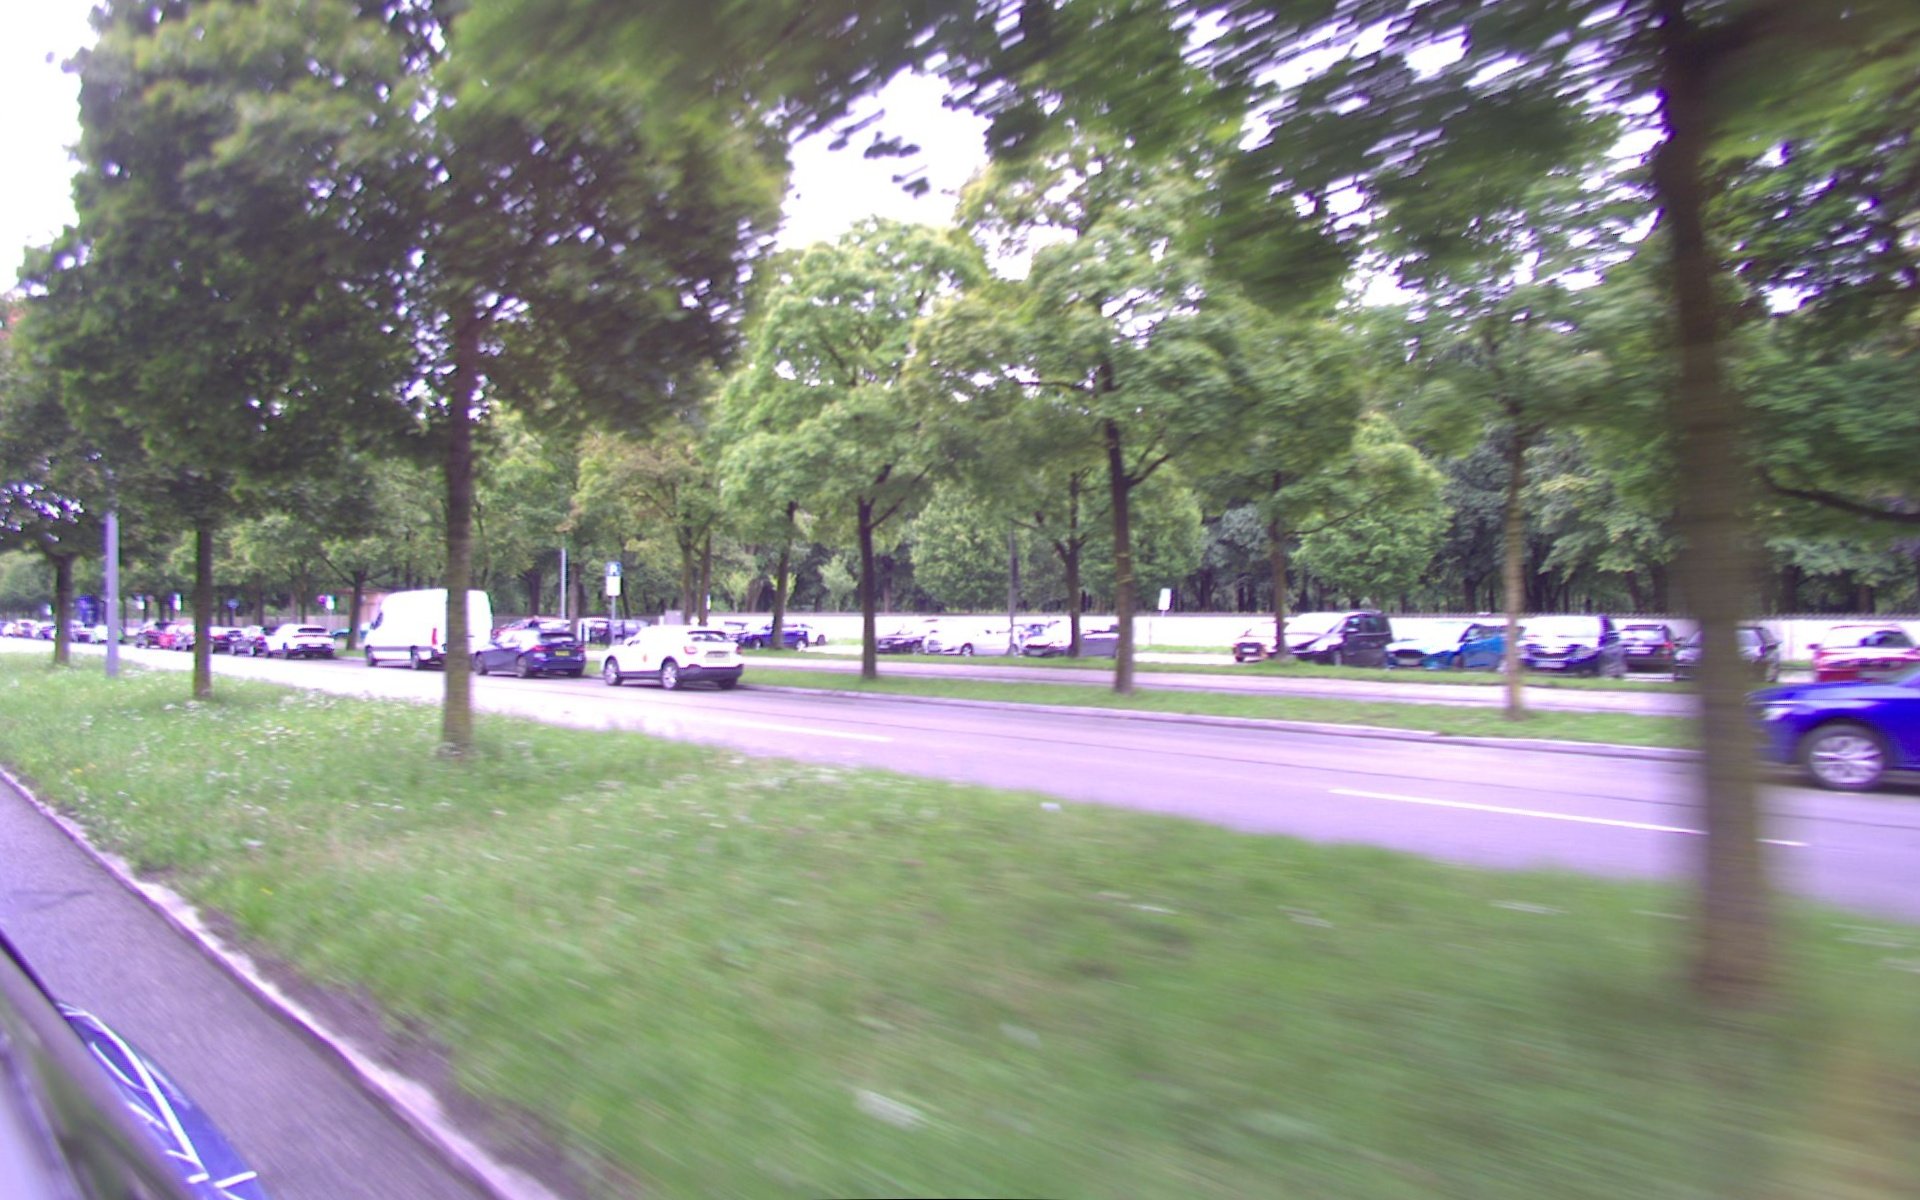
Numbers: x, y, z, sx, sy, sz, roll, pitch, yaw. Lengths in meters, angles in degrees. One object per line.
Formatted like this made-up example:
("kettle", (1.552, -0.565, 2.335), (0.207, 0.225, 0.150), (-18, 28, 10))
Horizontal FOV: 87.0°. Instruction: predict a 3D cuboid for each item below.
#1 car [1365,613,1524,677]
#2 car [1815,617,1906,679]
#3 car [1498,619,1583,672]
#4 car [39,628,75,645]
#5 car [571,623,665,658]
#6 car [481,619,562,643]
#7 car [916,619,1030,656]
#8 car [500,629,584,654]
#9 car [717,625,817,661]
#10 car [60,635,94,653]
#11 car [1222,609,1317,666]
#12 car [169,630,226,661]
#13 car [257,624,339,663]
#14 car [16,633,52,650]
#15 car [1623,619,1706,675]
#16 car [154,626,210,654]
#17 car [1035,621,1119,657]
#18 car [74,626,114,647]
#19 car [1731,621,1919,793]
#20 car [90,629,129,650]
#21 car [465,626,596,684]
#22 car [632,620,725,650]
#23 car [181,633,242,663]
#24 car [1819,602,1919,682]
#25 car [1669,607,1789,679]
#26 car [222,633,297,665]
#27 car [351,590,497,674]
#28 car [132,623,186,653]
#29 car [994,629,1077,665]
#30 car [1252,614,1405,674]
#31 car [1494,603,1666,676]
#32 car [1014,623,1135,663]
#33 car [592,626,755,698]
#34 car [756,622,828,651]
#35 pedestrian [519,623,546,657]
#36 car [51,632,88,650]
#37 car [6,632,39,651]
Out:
("car", (12.369, 1.102, 25.783), (3.934, 1.516, 2.005), (1, -2, -36))
("car", (25.933, 1.323, 29.253), (1.814, 1.548, 3.946), (-1, 0, 40))
("car", (19.699, 1.485, 34.273), (1.814, 1.548, 3.946), (-1, 0, 40))
("car", (-81.133, 3.303, 90.910), (3.784, 1.457, 1.803), (-1, -4, 39))
("car", (-16.517, 1.925, 48.939), (1.814, 1.582, 3.943), (-1, -2, 43))
("car", (-24.911, 1.760, 57.586), (1.737, 1.293, 3.952), (-1, -2, 35))
("car", (0.504, 1.299, 35.517), (1.784, 1.219, 3.942), (-2, -2, 44))
("car", (-22.791, 2.249, 55.280), (1.737, 1.293, 3.953), (-1, -2, 34))
("car", (-8.355, 1.841, 43.945), (3.940, 1.449, 1.816), (1, -2, -44))
("car", (-72.832, 3.599, 83.503), (3.686, 1.433, 1.632), (-2, -4, 42))
("car", (12.445, 1.443, 40.486), (1.999, 2.050, 4.459), (-1, 0, 40))
("car", (-41.865, 2.449, 55.530), (4.112, 1.611, 1.802), (-1, -2, 43))
("car", (-28.985, 1.891, 44.280), (4.296, 1.539, 1.803), (0, -2, 40))
("car", (-89.937, 4.006, 98.296), (4.037, 1.628, 1.982), (-1, -3, 39))
("car", (22.578, 1.447, 32.380), (1.814, 1.548, 3.946), (-1, 0, 40))
("car", (-45.525, 2.289, 59.186), (3.807, 1.490, 1.803), (0, 0, 40))
("car", (5.458, 1.773, 46.937), (3.940, 1.608, 1.771), (1, -2, -44))
("car", (-68.386, 2.868, 79.903), (4.454, 1.643, 1.802), (-1, -3, 41))
("car", (9.881, 1.003, 9.357), (4.310, 1.549, 1.867), (-1, -4, 40))
("car", (-62.326, 2.864, 74.129), (3.999, 1.511, 1.622), (-2, -3, 42))
("car", (-12.678, 1.559, 29.753), (4.249, 1.502, 1.838), (0, 0, 40))
("car", (-13.478, 1.647, 48.565), (1.815, 1.349, 3.942), (-2, -2, 44))
("car", (-38.295, 2.447, 51.759), (4.001, 1.420, 1.801), (-1, -3, 44))
("car", (18.014, 0.781, 19.801), (1.758, 1.403, 4.367), (-1, -2, 41))
("car", (16.514, 0.876, 21.659), (1.758, 1.403, 3.935), (-1, -2, 41))
("car", (-33.043, 2.279, 47.716), (3.995, 1.459, 1.804), (-1, -3, 38))
("car", (-18.758, 1.143, 35.206), (7.102, 2.664, 2.117), (-2, -3, 42))
("car", (-49.316, 2.317, 62.271), (4.236, 1.712, 1.803), (0, 0, 40))
("car", (3.621, 2.185, 48.268), (3.940, 1.608, 1.771), (1, -2, -44))
("car", (9.983, 1.144, 27.339), (3.934, 1.516, 2.005), (1, -2, -36))
("car", (14.236, 0.868, 23.154), (4.293, 1.516, 2.004), (1, -2, -39))
("car", (3.762, 1.359, 32.813), (1.784, 1.219, 4.126), (-2, -2, 44))
("car", (-7.027, 1.434, 24.621), (4.139, 1.502, 1.838), (0, 0, 40))
("car", (-9.966, 2.124, 60.185), (3.940, 1.666, 1.771), (1, -2, -44))
("pedestrian", (-18.780, 1.750, 44.471), (0.856, 1.507, 0.786), (-2, -2, 41))
("car", (-76.503, 3.479, 86.922), (4.258, 1.488, 1.802), (-2, -4, 42))
("car", (-94.494, 4.177, 101.986), (4.529, 1.784, 1.839), (-1, -3, 39))
